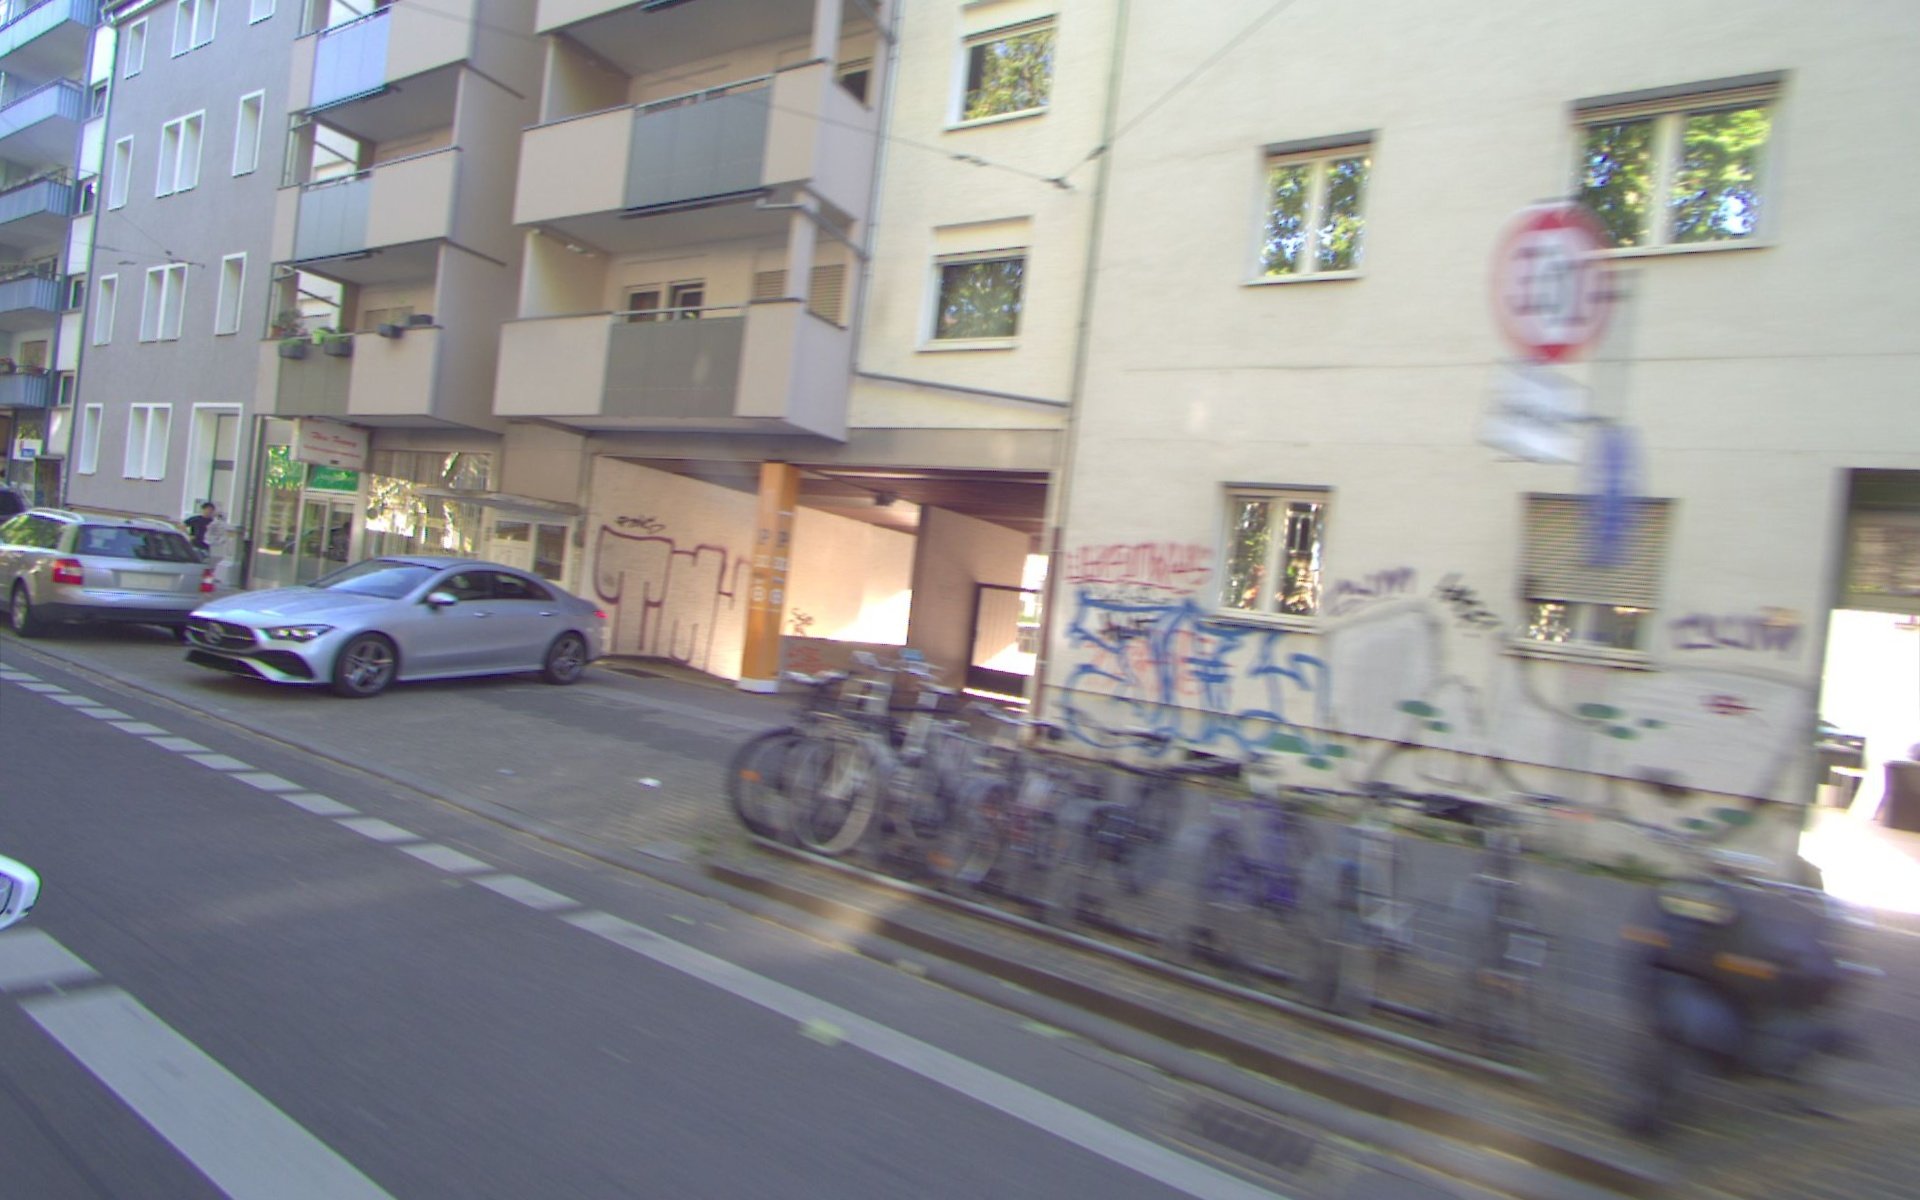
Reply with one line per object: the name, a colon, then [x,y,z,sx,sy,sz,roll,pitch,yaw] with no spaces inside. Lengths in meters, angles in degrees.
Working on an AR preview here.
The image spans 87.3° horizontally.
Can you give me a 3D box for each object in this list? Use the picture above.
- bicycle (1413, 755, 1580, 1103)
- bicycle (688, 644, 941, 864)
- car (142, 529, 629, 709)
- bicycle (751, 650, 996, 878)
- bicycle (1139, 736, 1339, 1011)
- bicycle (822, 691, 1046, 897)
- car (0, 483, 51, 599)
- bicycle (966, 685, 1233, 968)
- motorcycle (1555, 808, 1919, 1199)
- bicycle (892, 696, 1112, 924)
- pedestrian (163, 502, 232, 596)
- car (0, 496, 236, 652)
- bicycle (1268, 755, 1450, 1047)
bicycle: [2.450,1.337,4.513,0.449,1.069,1.653,7,1,31]
bicycle: [-0.878,0.926,6.642,0.449,1.207,1.893,7,1,31]
car: [-6.098,0.206,11.439,1.830,1.456,4.625,7,1,21]
bicycle: [-0.472,0.945,6.390,0.449,1.207,1.824,7,1,31]
bicycle: [1.480,1.287,5.140,0.449,1.000,1.653,7,1,31]
bicycle: [-0.094,1.098,6.125,0.449,0.978,1.653,7,1,31]
car: [-16.570,-1.150,16.091,4.211,1.725,1.769,7,0,31]
bicycle: [0.844,1.119,5.551,0.693,1.163,1.794,7,1,32]
motorcycle: [3.133,1.448,3.932,1.807,1.093,0.611,6,1,-35]
bicycle: [0.309,1.141,5.892,0.449,1.034,1.653,7,1,31]
pedestrian: [-15.235,-1.014,20.098,0.708,1.741,0.757,7,1,30]
car: [-11.151,-0.411,12.696,4.440,1.544,1.726,7,0,34]
bicycle: [1.985,1.339,4.872,0.449,0.999,1.654,7,0,31]
